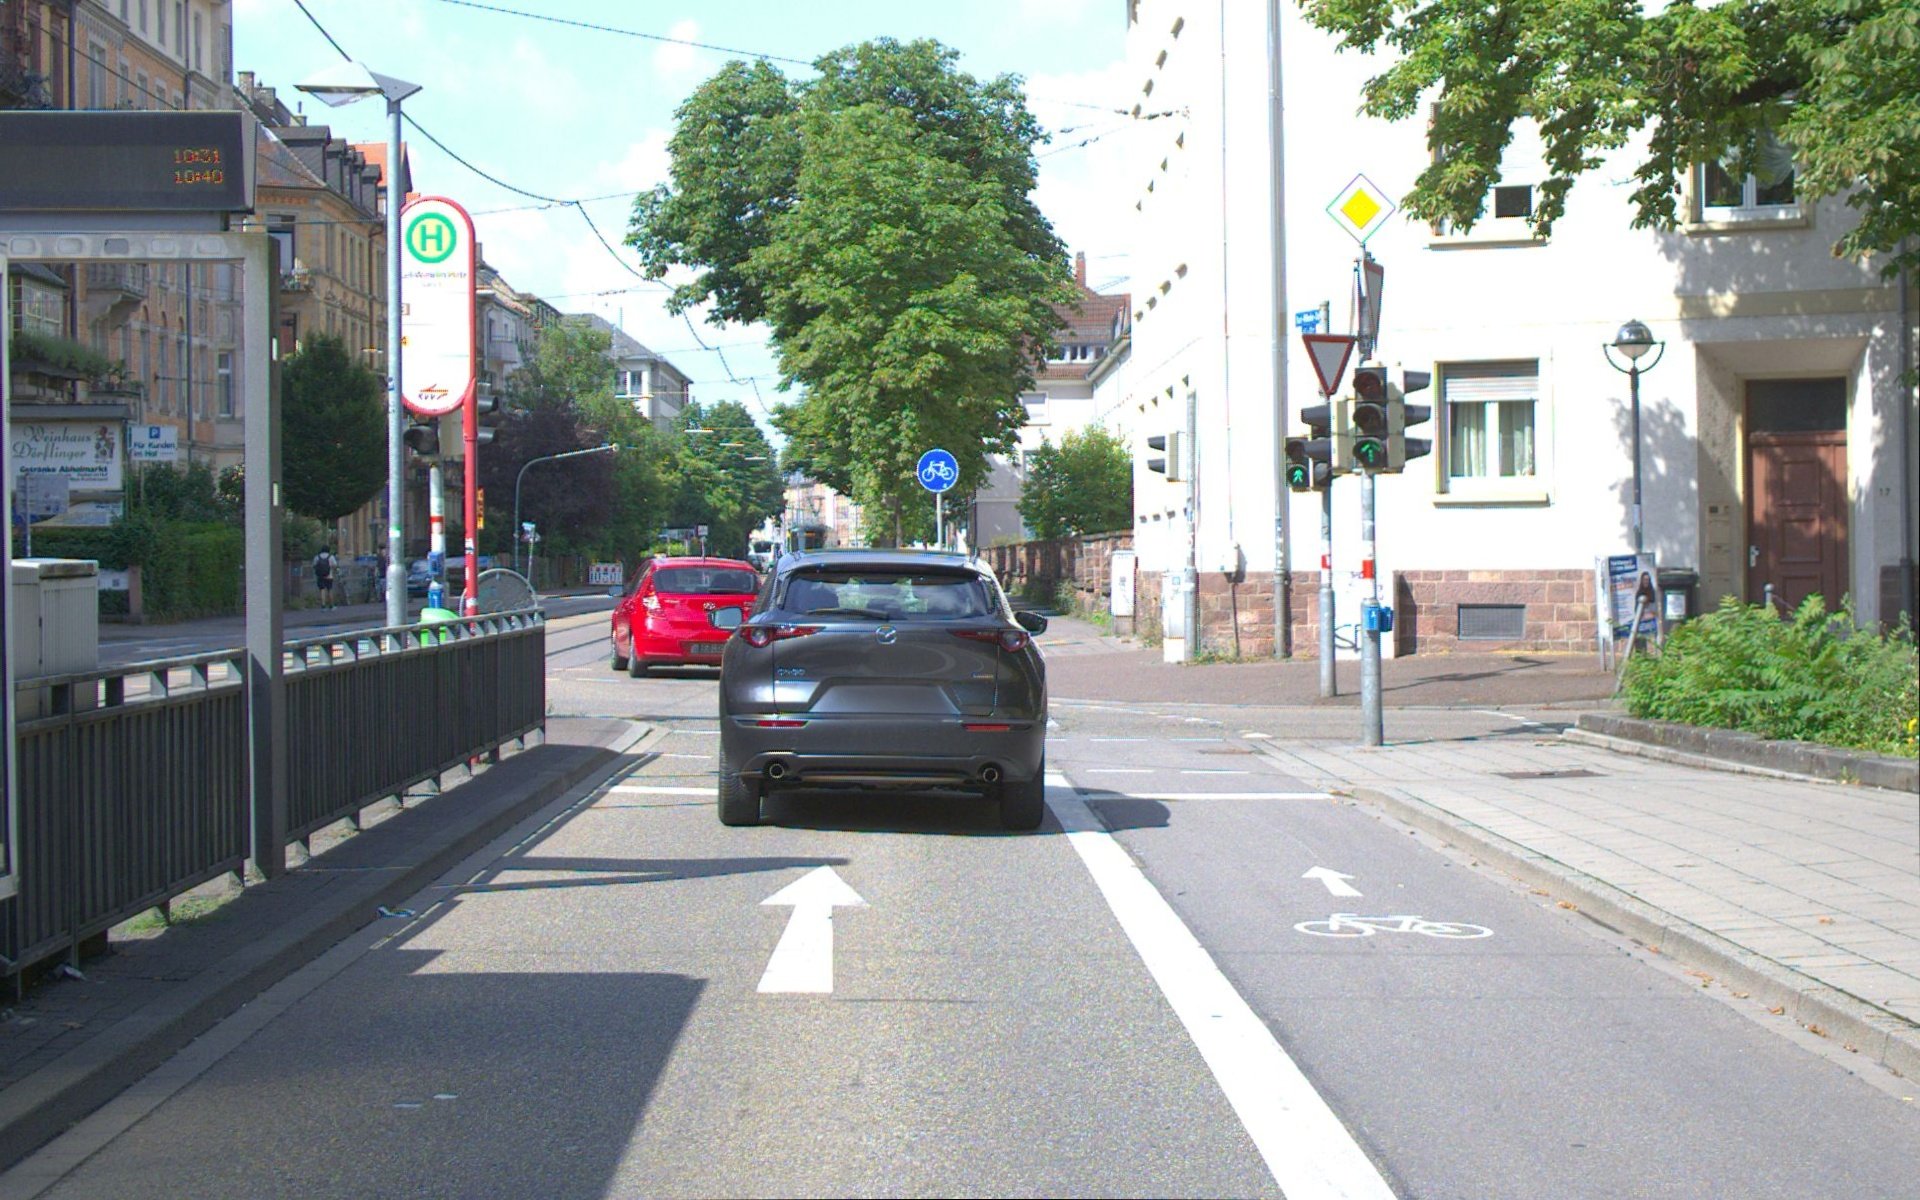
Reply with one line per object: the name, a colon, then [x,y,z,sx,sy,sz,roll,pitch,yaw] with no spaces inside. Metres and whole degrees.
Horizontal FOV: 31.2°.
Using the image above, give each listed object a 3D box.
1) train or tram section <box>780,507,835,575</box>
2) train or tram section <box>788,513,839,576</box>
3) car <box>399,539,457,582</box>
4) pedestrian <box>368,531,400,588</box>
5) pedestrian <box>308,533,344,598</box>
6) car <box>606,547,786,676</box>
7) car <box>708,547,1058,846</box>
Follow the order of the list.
train or tram section: [-9.388,-3.574,213.045,2.997,3.970,13.809,-1,0,-1]
train or tram section: [-9.606,-3.578,226.842,2.997,3.970,13.809,-1,0,-1]
car: [-20.323,-1.512,131.420,1.657,1.590,3.930,-1,1,-1]
pedestrian: [-17.025,-1.189,101.571,0.788,1.682,0.732,0,1,1]
pedestrian: [-16.606,-0.903,90.062,0.788,1.682,0.732,0,1,1]
car: [-3.301,0.113,42.329,1.775,1.459,3.843,1,1,-11]
car: [-0.507,0.478,19.963,1.782,1.509,4.001,2,1,-3]
